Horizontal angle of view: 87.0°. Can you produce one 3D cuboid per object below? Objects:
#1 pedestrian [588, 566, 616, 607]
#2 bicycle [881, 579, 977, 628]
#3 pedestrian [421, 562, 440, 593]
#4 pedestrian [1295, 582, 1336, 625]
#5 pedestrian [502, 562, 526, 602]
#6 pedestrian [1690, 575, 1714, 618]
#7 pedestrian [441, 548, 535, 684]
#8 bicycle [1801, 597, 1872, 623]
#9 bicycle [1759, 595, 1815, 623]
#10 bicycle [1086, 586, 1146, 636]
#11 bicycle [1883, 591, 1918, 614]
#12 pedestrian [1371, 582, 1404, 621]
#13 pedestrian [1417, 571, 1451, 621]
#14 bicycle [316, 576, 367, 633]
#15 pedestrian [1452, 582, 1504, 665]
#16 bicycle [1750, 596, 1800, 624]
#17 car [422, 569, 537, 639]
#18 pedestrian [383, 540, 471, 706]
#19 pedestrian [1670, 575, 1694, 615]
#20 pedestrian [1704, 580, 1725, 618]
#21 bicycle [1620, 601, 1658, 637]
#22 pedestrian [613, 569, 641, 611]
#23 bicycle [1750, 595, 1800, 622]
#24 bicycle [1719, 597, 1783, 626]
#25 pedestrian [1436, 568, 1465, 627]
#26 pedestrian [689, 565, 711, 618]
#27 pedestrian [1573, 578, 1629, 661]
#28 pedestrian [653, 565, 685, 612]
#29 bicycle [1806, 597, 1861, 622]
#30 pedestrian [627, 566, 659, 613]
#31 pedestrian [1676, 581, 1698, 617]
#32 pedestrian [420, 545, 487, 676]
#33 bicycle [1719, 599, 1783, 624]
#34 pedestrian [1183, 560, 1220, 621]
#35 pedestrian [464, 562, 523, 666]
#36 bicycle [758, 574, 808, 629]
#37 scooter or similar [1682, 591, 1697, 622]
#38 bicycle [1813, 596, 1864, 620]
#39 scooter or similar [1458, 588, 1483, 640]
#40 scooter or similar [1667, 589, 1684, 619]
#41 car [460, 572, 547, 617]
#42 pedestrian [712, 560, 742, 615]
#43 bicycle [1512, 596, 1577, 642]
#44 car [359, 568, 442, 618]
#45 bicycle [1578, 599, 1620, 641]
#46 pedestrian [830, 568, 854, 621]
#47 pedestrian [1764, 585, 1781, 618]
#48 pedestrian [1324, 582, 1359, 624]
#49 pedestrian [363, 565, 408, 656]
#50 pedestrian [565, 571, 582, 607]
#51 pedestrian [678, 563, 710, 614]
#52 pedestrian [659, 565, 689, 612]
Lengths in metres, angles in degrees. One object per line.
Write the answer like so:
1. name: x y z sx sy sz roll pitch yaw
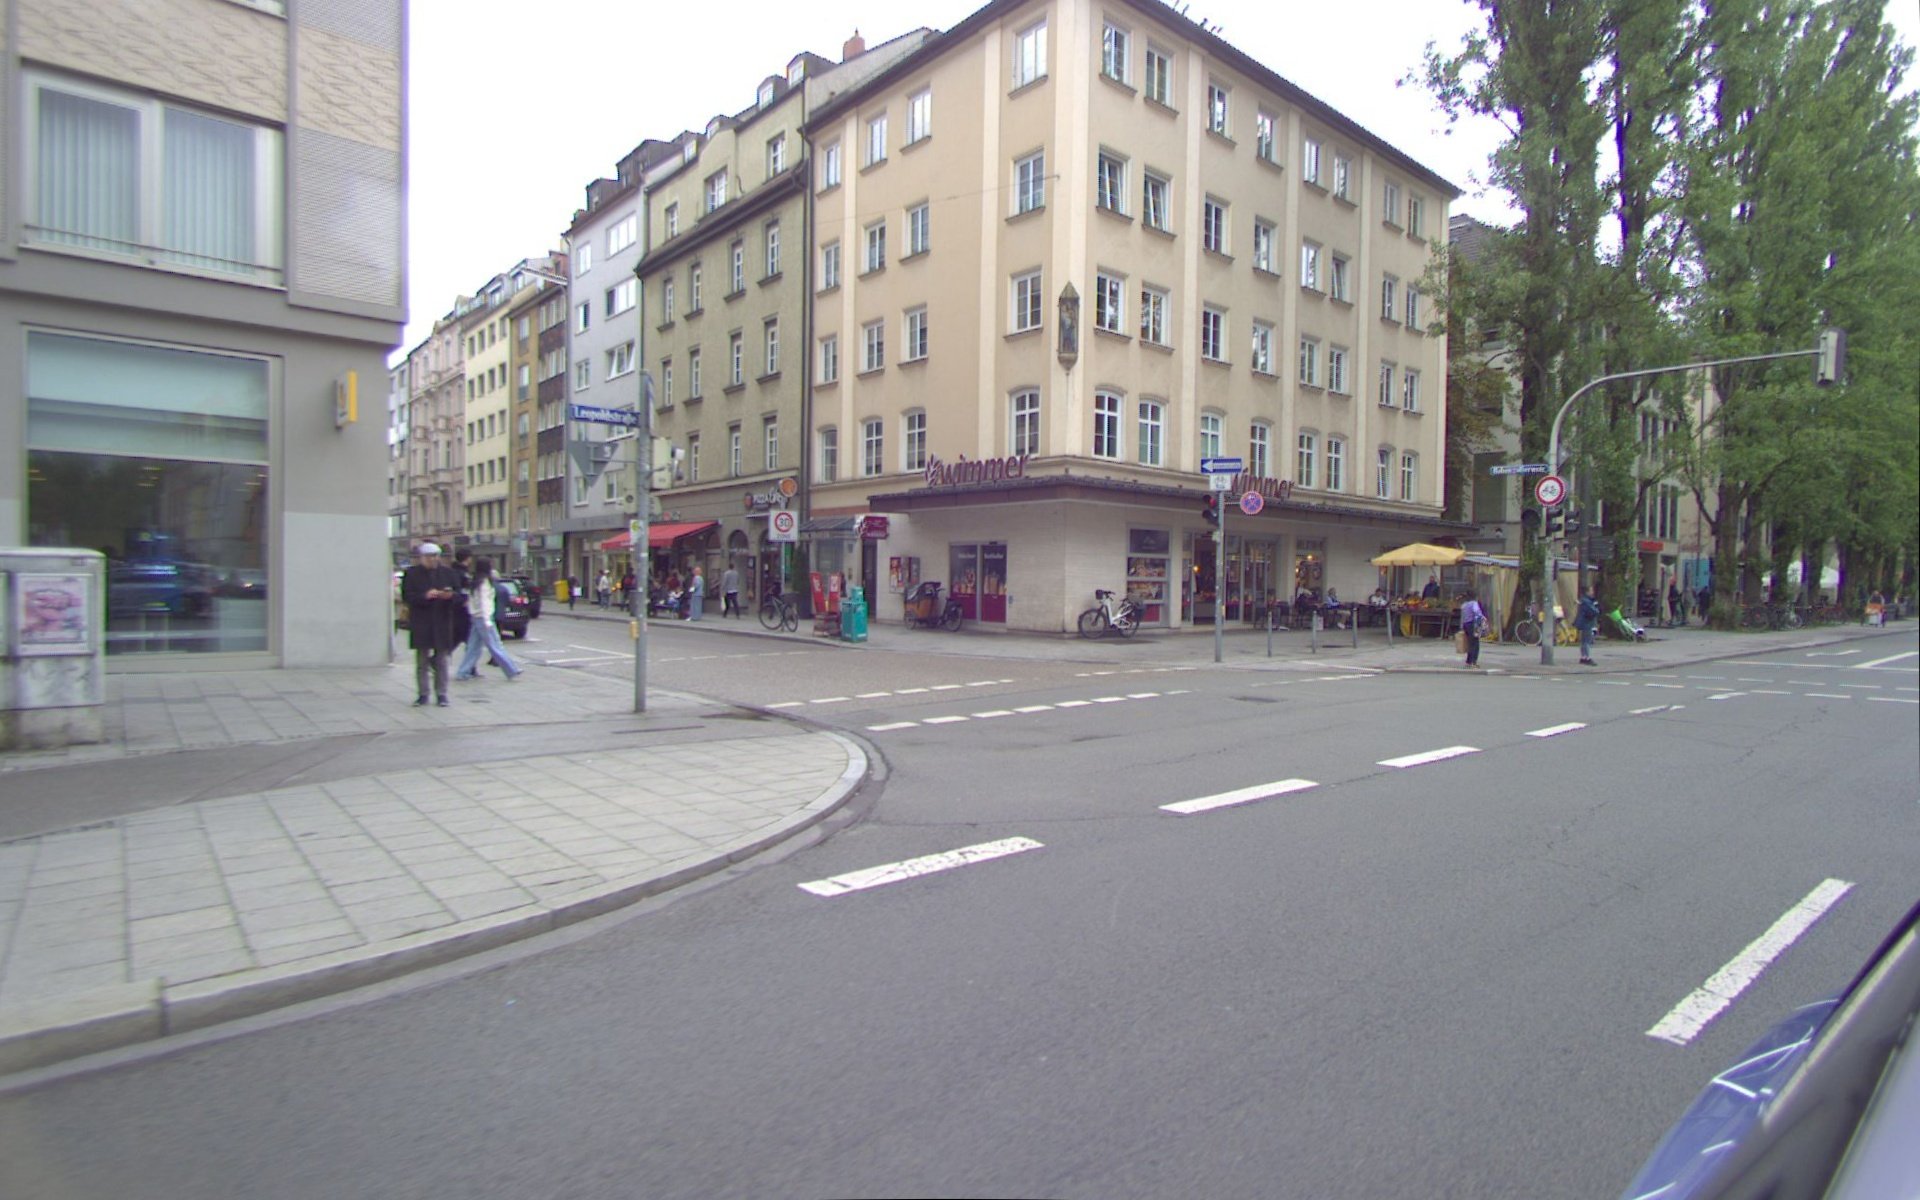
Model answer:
1. pedestrian: -14.280 -0.534 40.336 0.804 1.629 0.867 0 0 -39
2. bicycle: -0.873 0.082 27.559 0.982 1.268 2.976 -1 0 -40
3. pedestrian: -30.896 -1.304 59.067 0.818 1.825 0.867 0 1 -39
4. pedestrian: 10.768 0.097 30.659 0.687 1.213 0.871 0 5 -40
5. pedestrian: -20.663 -0.819 46.898 0.818 1.826 0.867 0 0 -39
6. pedestrian: 34.771 -0.156 47.424 0.709 1.996 0.658 1 1 -38
7. pedestrian: -6.481 0.199 13.903 0.999 1.780 0.752 1 1 -39
8. bicycle: 44.188 0.500 51.067 0.948 1.230 2.577 0 1 -40
9. bicycle: 36.128 0.369 44.214 1.864 1.149 0.335 2 1 42
10. bicycle: 3.825 0.249 24.691 1.780 1.185 0.435 -1 0 -42
11. bicycle: 60.867 0.160 65.508 0.819 1.429 2.579 1 0 23
12. pedestrian: 14.234 0.038 33.717 0.687 1.280 0.777 0 1 -40
13. pedestrian: 15.576 -0.134 33.238 0.687 1.609 0.777 0 1 -40
14. bicycle: -13.929 0.082 22.774 1.736 1.227 0.442 2 1 40
15. pedestrian: 9.942 0.440 19.432 0.608 1.536 0.769 0 2 4
16. bicycle: 34.910 0.429 43.369 1.669 1.131 0.282 2 1 38
17. car: -12.014 0.044 25.180 1.728 1.568 3.997 0 2 -39
18. pedestrian: -5.963 0.234 11.321 0.739 1.780 0.710 0 1 -39
19. pedestrian: 34.187 -0.223 47.909 0.889 1.874 0.658 0 1 -39
20. pedestrian: 36.877 -0.055 49.489 0.662 1.807 0.658 0 1 -39
21. bicycle: 19.659 0.534 29.306 1.740 0.987 0.509 0 1 -43
22. pedestrian: -13.149 -0.390 39.950 0.804 1.629 0.867 0 0 -39
23. bicycle: 35.179 0.358 43.691 1.657 1.121 0.391 2 1 39
24. bicycle: 31.661 0.448 40.534 1.996 1.096 0.282 2 1 41
25. pedestrian: 14.227 -0.069 29.349 0.526 1.694 0.542 0 1 -33
26. pedestrian: -8.215 -0.269 31.984 0.573 1.665 0.445 0 0 -32
27. pedestrian: 13.124 0.382 20.717 0.850 1.630 0.766 0 1 -44
28. pedestrian: -10.231 -0.393 35.542 0.804 1.629 0.867 0 0 -39
29. bicycle: 40.280 0.433 46.704 0.385 1.022 1.848 1 2 -31
30. pedestrian: -11.037 -0.370 35.232 0.804 1.629 0.867 0 0 -39
31. pedestrian: 37.909 -0.069 52.773 0.807 1.877 0.753 0 0 -42
32. pedestrian: -7.116 0.134 14.211 0.698 1.780 0.752 0 1 -39
33. bicycle: 31.879 0.445 40.808 1.997 0.957 0.282 2 1 42
34. pedestrian: 6.946 -0.289 29.149 0.845 1.723 0.666 -2 3 -39
35. pedestrian: -7.772 0.204 16.869 0.721 1.656 0.752 -2 4 -38
36. bicycle: -4.707 0.024 26.823 0.472 1.404 1.832 0 1 -38
37. scooter or similar: 30.717 0.280 42.615 1.018 1.289 0.247 0 1 -41
38. bicycle: 45.099 0.402 51.965 0.674 1.141 1.902 1 1 -40
39. scooter or similar: 12.803 0.331 25.363 0.405 1.259 1.355 1 1 33
40. scooter or similar: 30.415 0.166 42.998 1.018 1.289 0.331 0 1 -41
41. car: -16.099 -0.231 35.611 1.728 1.479 3.995 0 2 -41
42. pedestrian: -7.681 -0.400 33.360 0.663 1.790 1.003 0 0 -31
43. bicycle: 14.625 0.473 25.322 1.774 1.084 0.406 -1 -4 -25
44. car: -17.986 -0.264 32.446 1.728 1.479 3.696 0 2 -39
45. bicycle: 16.941 0.503 26.825 1.740 1.061 0.509 0 1 -43
46. pedestrian: -3.528 -0.168 30.245 0.437 1.577 0.583 0 0 -39
47. pedestrian: 44.274 0.085 55.134 0.684 1.764 0.566 0 0 -38
48. pedestrian: 11.971 0.074 31.756 0.687 1.280 0.777 0 1 -40
49. pedestrian: -9.936 0.171 17.509 0.574 1.550 0.444 0 1 -44
50. pedestrian: -15.914 -0.455 41.700 0.573 1.450 0.445 0 1 -32
51. pedestrian: -9.460 -0.402 35.959 0.804 1.790 0.867 0 0 -39
52. pedestrian: -10.698 -0.433 37.868 0.804 1.717 0.867 0 0 -39
